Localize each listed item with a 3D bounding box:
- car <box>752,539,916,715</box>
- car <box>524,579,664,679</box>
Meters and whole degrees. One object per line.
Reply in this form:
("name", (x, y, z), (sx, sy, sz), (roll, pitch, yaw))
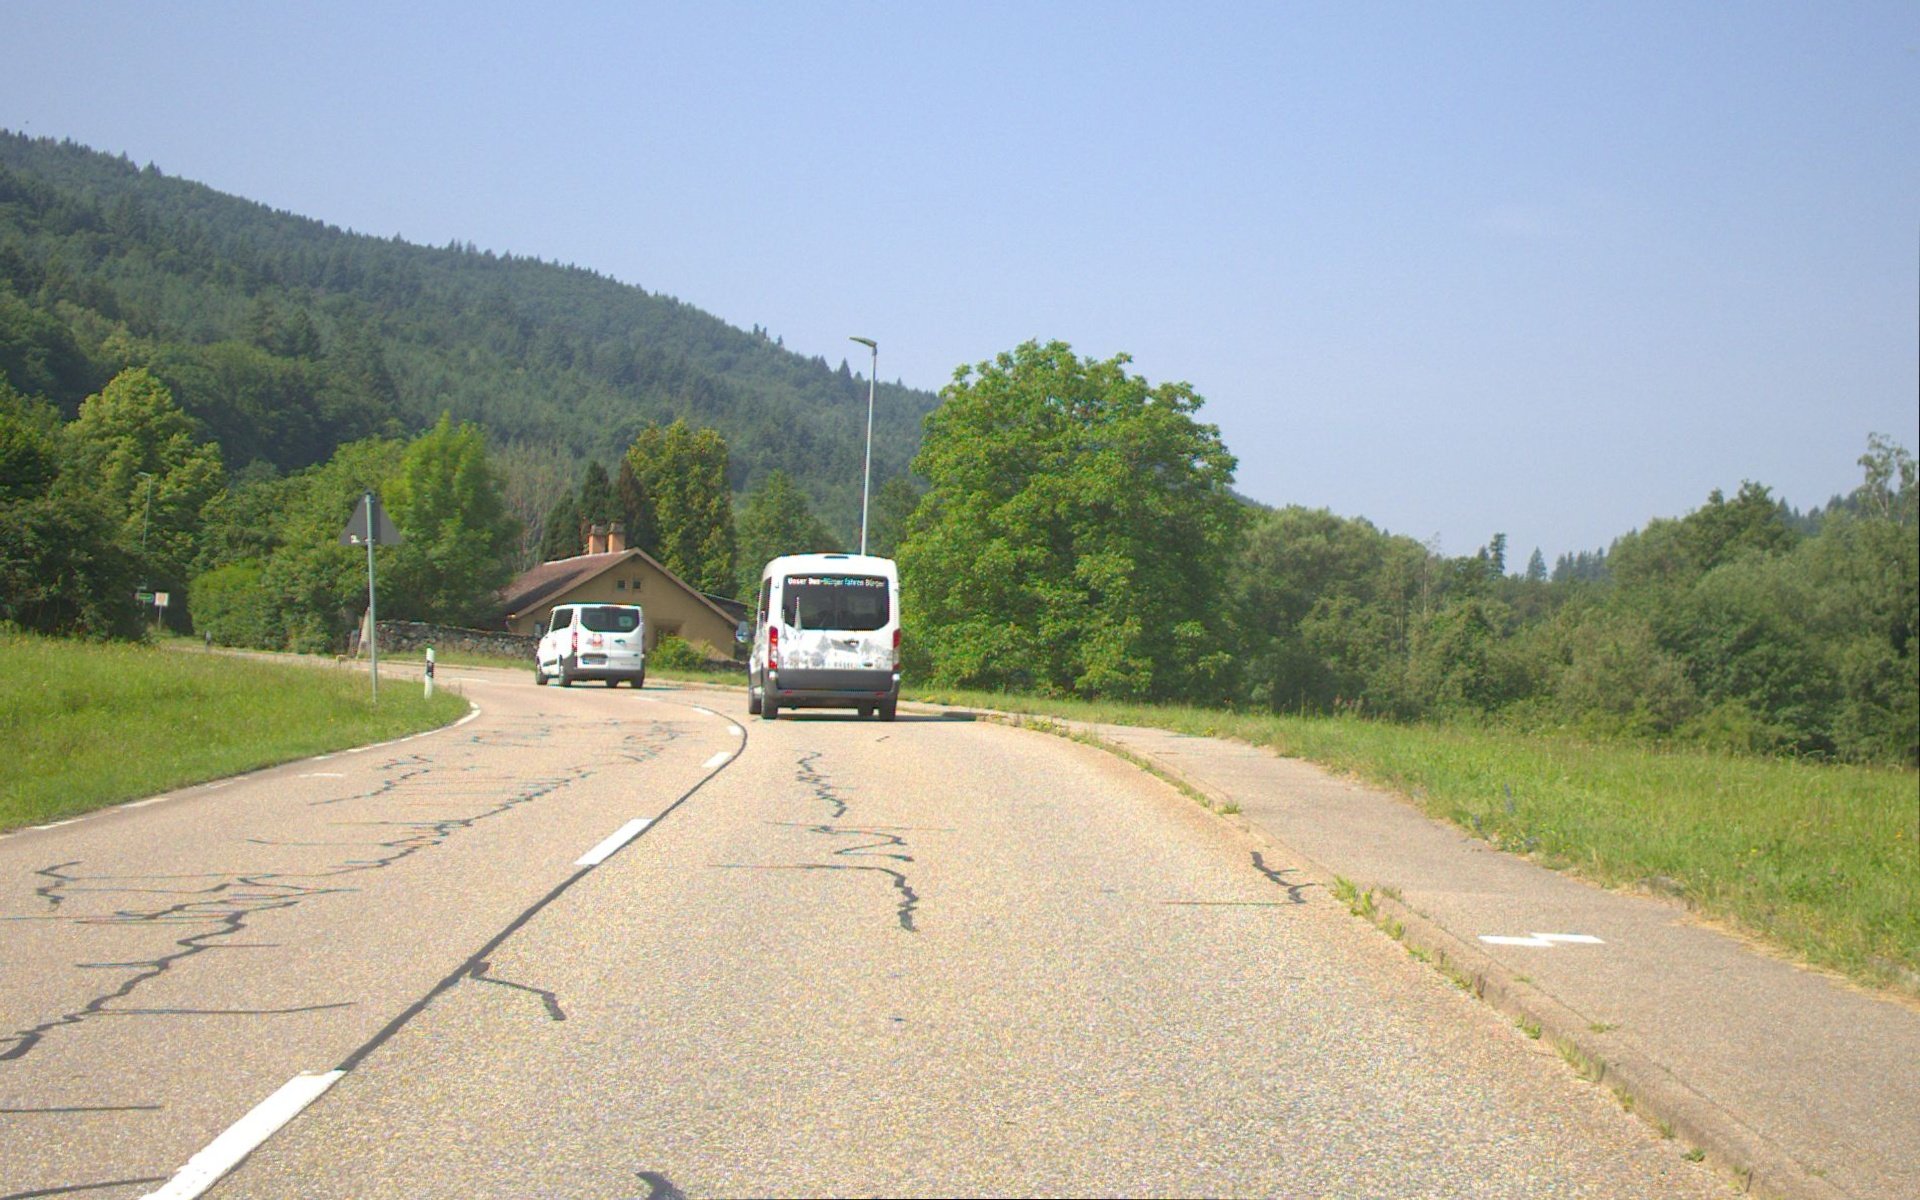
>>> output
("car", (-1.991, 0.421, 52.658), (2.222, 2.517, 4.985), (-2, -1, -5))
("car", (-8.862, 0.711, 82.816), (2.222, 2.279, 4.985), (-1, -1, -19))
